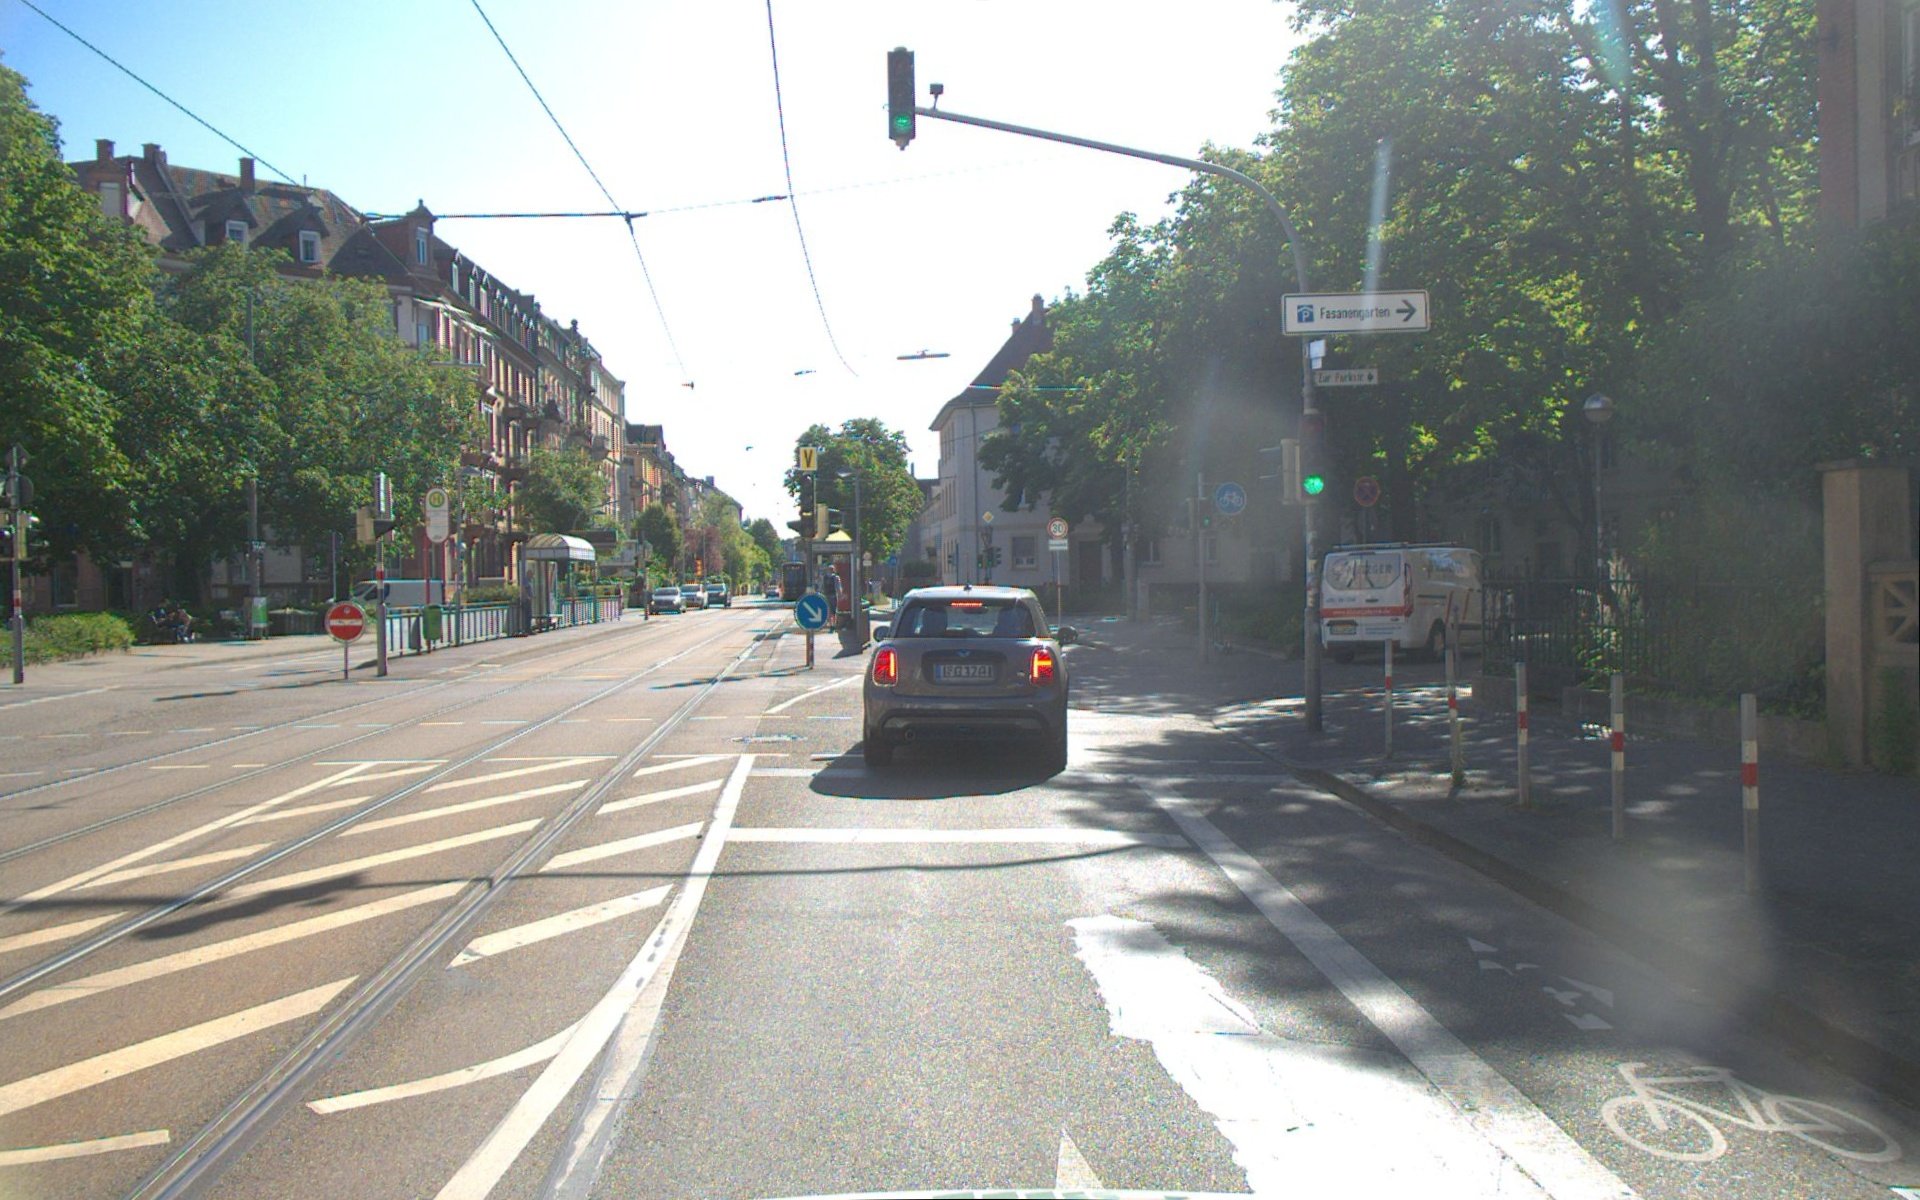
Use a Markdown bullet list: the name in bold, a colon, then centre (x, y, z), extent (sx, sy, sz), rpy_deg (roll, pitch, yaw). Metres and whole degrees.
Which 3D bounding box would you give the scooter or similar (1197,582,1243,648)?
- **scooter or similar**: centre (5.365, 0.312, 34.163), extent (0.662, 1.333, 1.328), rpy_deg (0, 0, -4)

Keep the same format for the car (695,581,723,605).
- **car**: centre (-17.488, -0.475, 115.175), extent (1.742, 1.646, 3.995), rpy_deg (0, 0, -6)

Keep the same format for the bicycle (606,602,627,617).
- **bicycle**: centre (-17.816, 0.477, 85.892), extent (0.704, 0.763, 1.916), rpy_deg (0, 0, -1)

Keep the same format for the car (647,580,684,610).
- **car**: centre (-16.198, -0.265, 91.148), extent (1.742, 1.646, 3.995), rpy_deg (0, 0, -6)

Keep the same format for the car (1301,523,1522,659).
- **car**: centre (8.247, -0.149, 29.937), extent (2.085, 2.247, 4.920), rpy_deg (0, 0, 39)

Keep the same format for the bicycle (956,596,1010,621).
- **bicycle**: centre (1.077, 0.398, 78.270), extent (2.484, 1.176, 0.843), rpy_deg (0, 0, 31)

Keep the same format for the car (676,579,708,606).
- **car**: centre (-16.607, -0.463, 102.534), extent (1.742, 1.646, 3.995), rpy_deg (0, 0, -6)

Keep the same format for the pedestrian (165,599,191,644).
- **pedestrian**: centre (-21.697, 0.583, 45.898), extent (0.569, 1.222, 0.604), rpy_deg (-2, 1, -21)

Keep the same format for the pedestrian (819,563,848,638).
- **pedestrian**: centre (-3.501, 0.008, 45.683), extent (0.780, 2.049, 0.740), rpy_deg (0, 0, -4)

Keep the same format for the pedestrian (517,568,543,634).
- **pedestrian**: centre (-12.138, 0.025, 46.695), extent (0.594, 1.826, 0.578), rpy_deg (-2, 1, -6)

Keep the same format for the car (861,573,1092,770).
- **car**: centre (0.205, 0.549, 14.749), extent (1.777, 1.514, 4.001), rpy_deg (0, 0, 2)

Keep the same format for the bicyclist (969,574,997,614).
- **bicyclist**: centre (1.077, -0.276, 78.306), extent (1.036, 1.843, 0.818), rpy_deg (0, 0, 31)

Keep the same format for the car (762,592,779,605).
- **car**: centre (-24.003, -0.237, 209.664), extent (1.954, 1.624, 3.997), rpy_deg (0, 0, -4)

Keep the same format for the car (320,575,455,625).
- **car**: centre (-23.903, -0.003, 69.175), extent (1.966, 2.049, 4.994), rpy_deg (0, 0, 44)

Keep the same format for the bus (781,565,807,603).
- **bus**: centre (-16.020, -1.508, 159.421), extent (2.340, 3.557, 7.373), rpy_deg (0, 0, -7)

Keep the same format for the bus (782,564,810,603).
- **bus**: centre (-15.121, -1.485, 152.085), extent (2.340, 3.557, 7.373), rpy_deg (0, 0, -7)

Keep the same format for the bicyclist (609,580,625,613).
- **bicyclist**: centre (-17.813, -0.161, 85.870), extent (0.699, 1.694, 0.734), rpy_deg (0, 0, -1)
